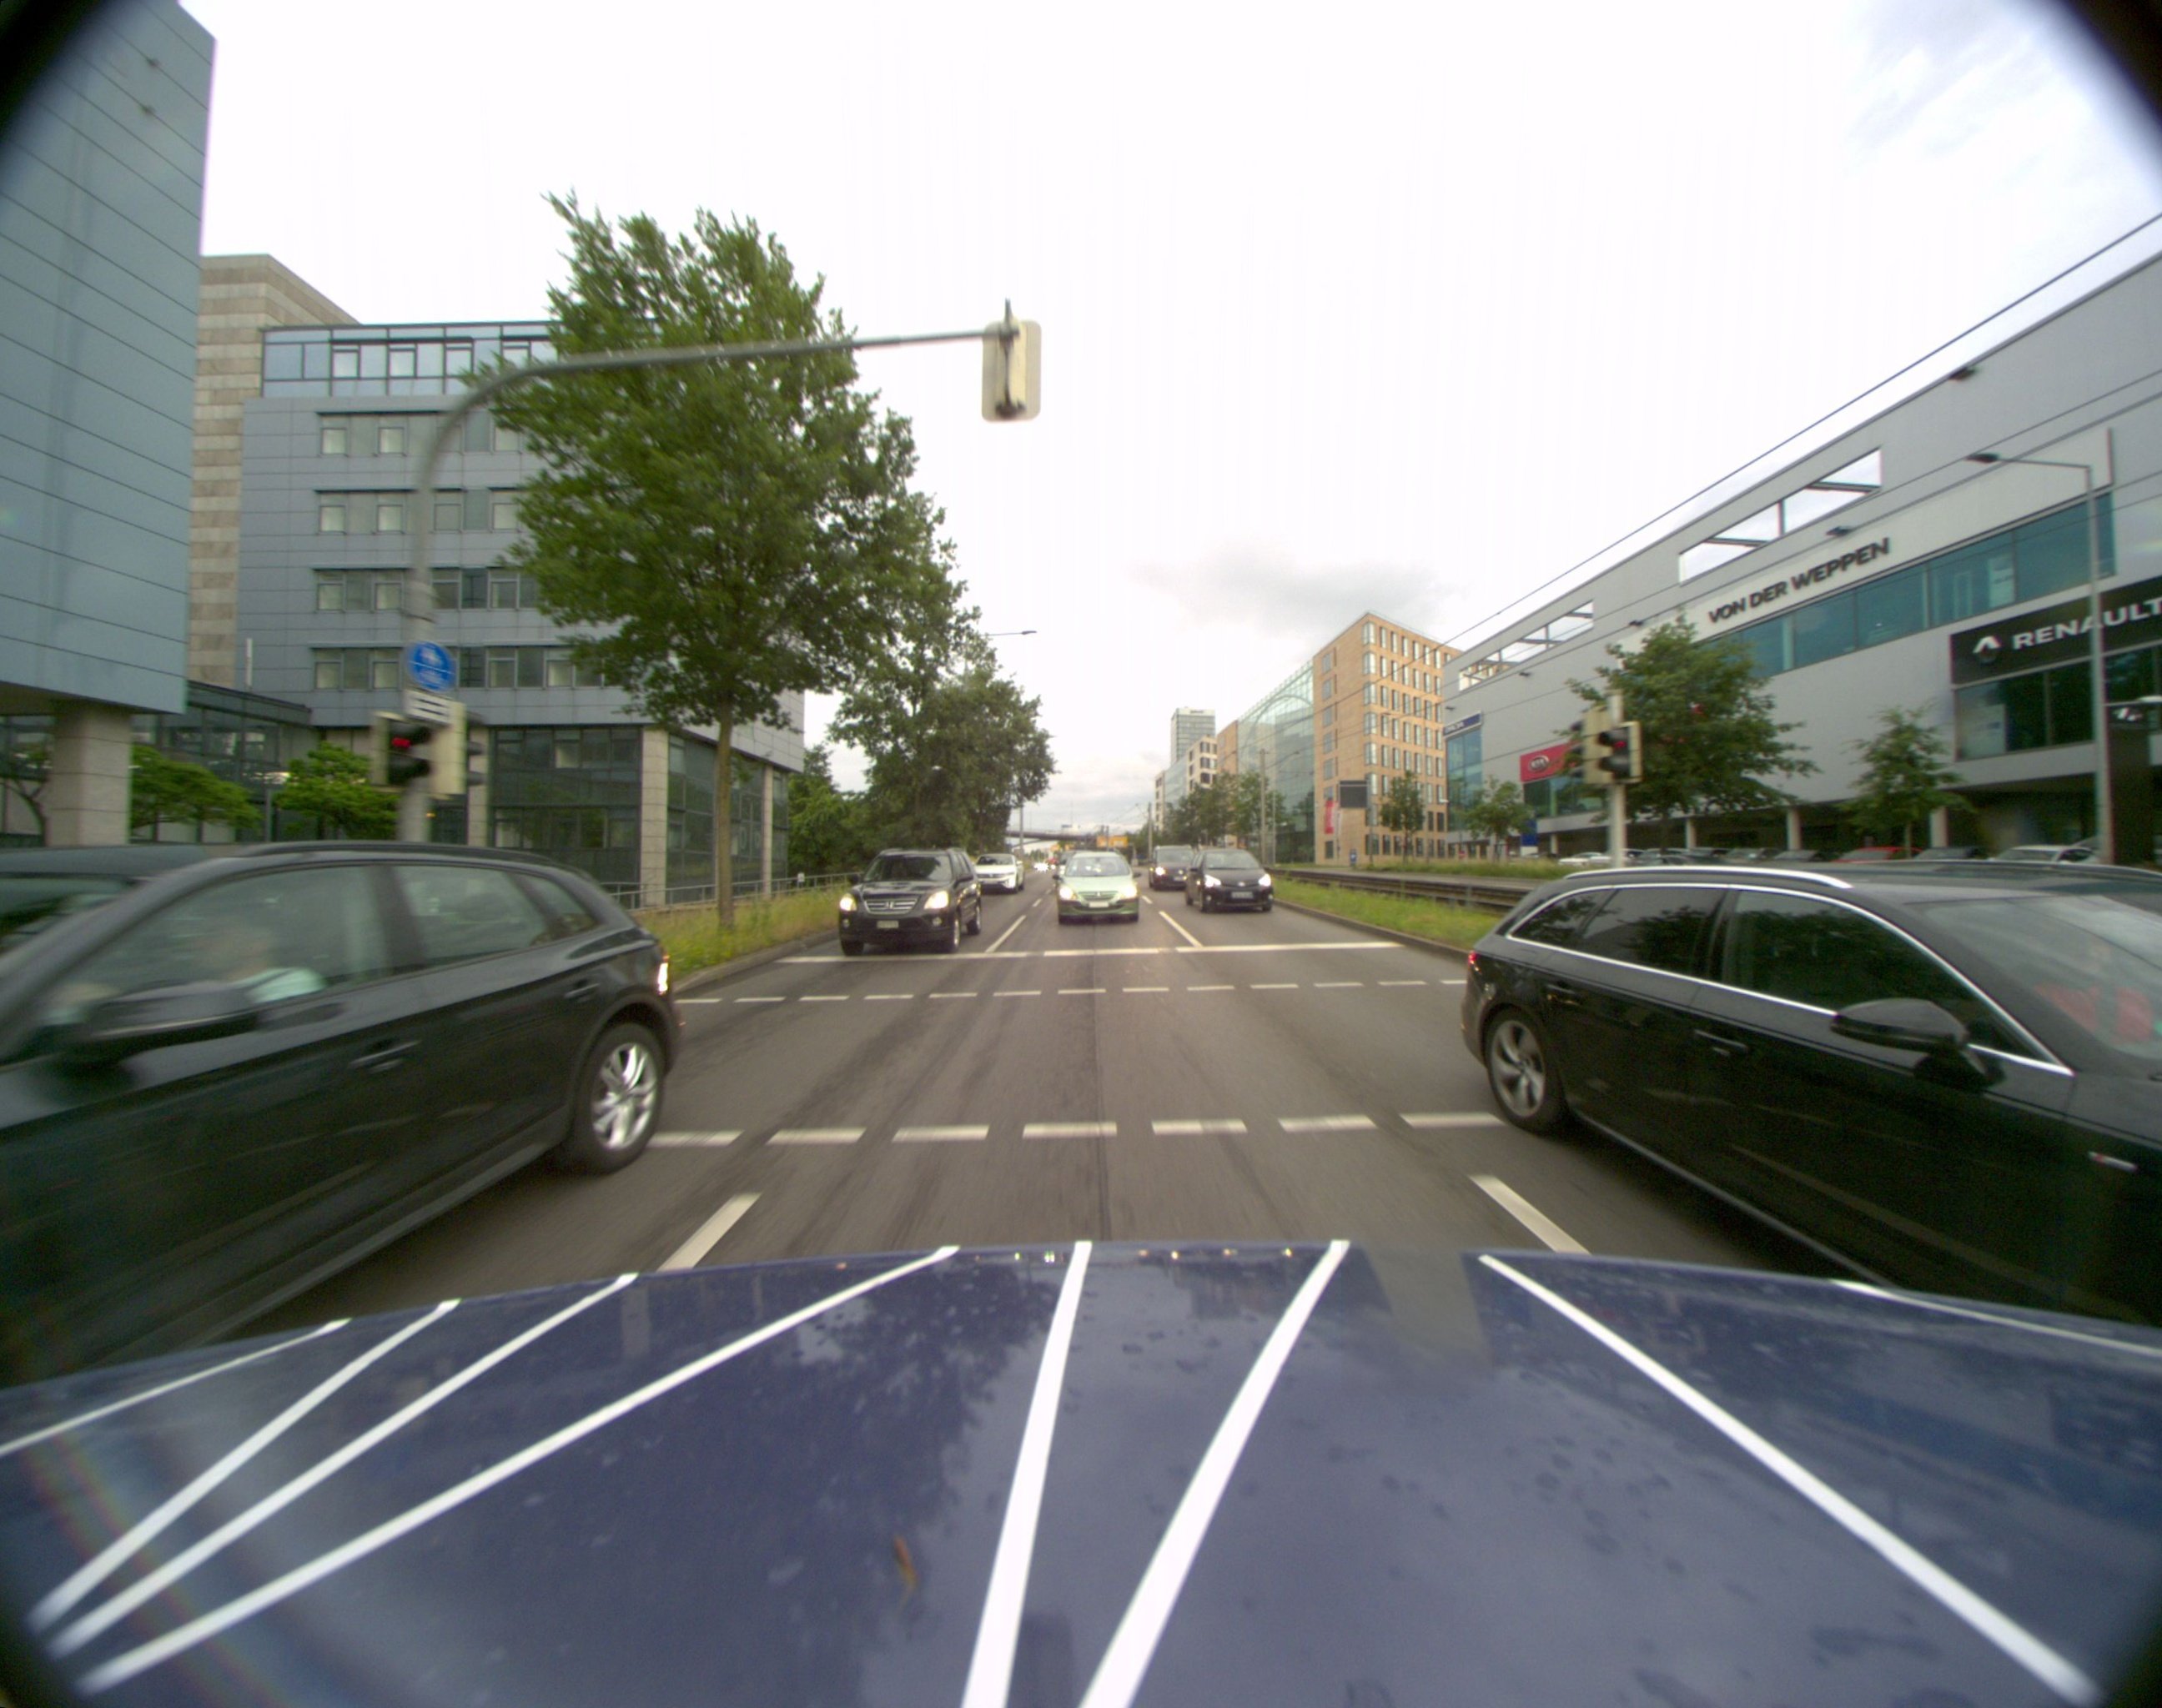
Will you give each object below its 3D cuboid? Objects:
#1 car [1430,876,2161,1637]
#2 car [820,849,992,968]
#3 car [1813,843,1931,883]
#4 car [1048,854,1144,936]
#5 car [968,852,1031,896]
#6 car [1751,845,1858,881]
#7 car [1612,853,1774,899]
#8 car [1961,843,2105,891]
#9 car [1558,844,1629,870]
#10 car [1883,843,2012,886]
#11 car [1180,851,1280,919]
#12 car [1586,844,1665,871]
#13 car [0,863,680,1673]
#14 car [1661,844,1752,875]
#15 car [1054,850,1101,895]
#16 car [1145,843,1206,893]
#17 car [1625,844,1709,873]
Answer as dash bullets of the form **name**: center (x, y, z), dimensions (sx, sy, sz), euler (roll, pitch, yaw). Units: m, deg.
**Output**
- **car**: center (3.118, 0.878, 2.457), dimensions (1.794, 1.426, 4.828), euler (-1, 0, 1)
- **car**: center (-2.762, 0.778, 13.094), dimensions (1.816, 1.660, 4.548), euler (-1, 0, 1)
- **car**: center (32.425, 0.347, 31.165), dimensions (3.845, 1.482, 1.821), euler (-1, 0, -17)
- **car**: center (0.310, 0.778, 16.609), dimensions (1.803, 1.533, 4.374), euler (-1, 0, 1)
- **car**: center (-3.030, 0.709, 28.897), dimensions (1.873, 1.533, 4.106), euler (-1, 0, 1)
- **car**: center (32.299, 0.384, 33.918), dimensions (3.845, 1.482, 1.821), euler (-1, 0, -17)
- **car**: center (21.946, 0.725, 27.568), dimensions (1.998, 1.428, 4.873), euler (-2, 1, 1)
- **car**: center (32.688, 0.411, 26.109), dimensions (3.845, 1.482, 1.821), euler (-1, 0, -17)
- **car**: center (31.954, 0.189, 47.381), dimensions (3.846, 1.482, 1.820), euler (-1, 0, -22)
- **car**: center (32.708, 0.373, 28.703), dimensions (3.845, 1.482, 1.821), euler (-1, 0, -17)
- **car**: center (3.606, 0.684, 19.057), dimensions (1.798, 1.493, 4.000), euler (-1, 0, 1)
- **car**: center (32.061, 0.215, 44.787), dimensions (3.845, 1.482, 1.821), euler (-1, 0, -17)
- **car**: center (-3.185, 0.904, 2.045), dimensions (1.816, 1.660, 4.370), euler (-1, 0, 1)
- **car**: center (32.377, 0.272, 39.346), dimensions (3.845, 1.482, 1.821), euler (-1, 0, -17)
- **car**: center (-0.106, 0.638, 28.260), dimensions (1.598, 1.533, 3.707), euler (-1, 0, 1)
- **car**: center (3.425, 0.476, 28.304), dimensions (1.781, 1.670, 4.131), euler (-1, 0, 1)
- **car**: center (32.414, 0.245, 42.033), dimensions (3.845, 1.482, 1.821), euler (-1, 0, -17)
